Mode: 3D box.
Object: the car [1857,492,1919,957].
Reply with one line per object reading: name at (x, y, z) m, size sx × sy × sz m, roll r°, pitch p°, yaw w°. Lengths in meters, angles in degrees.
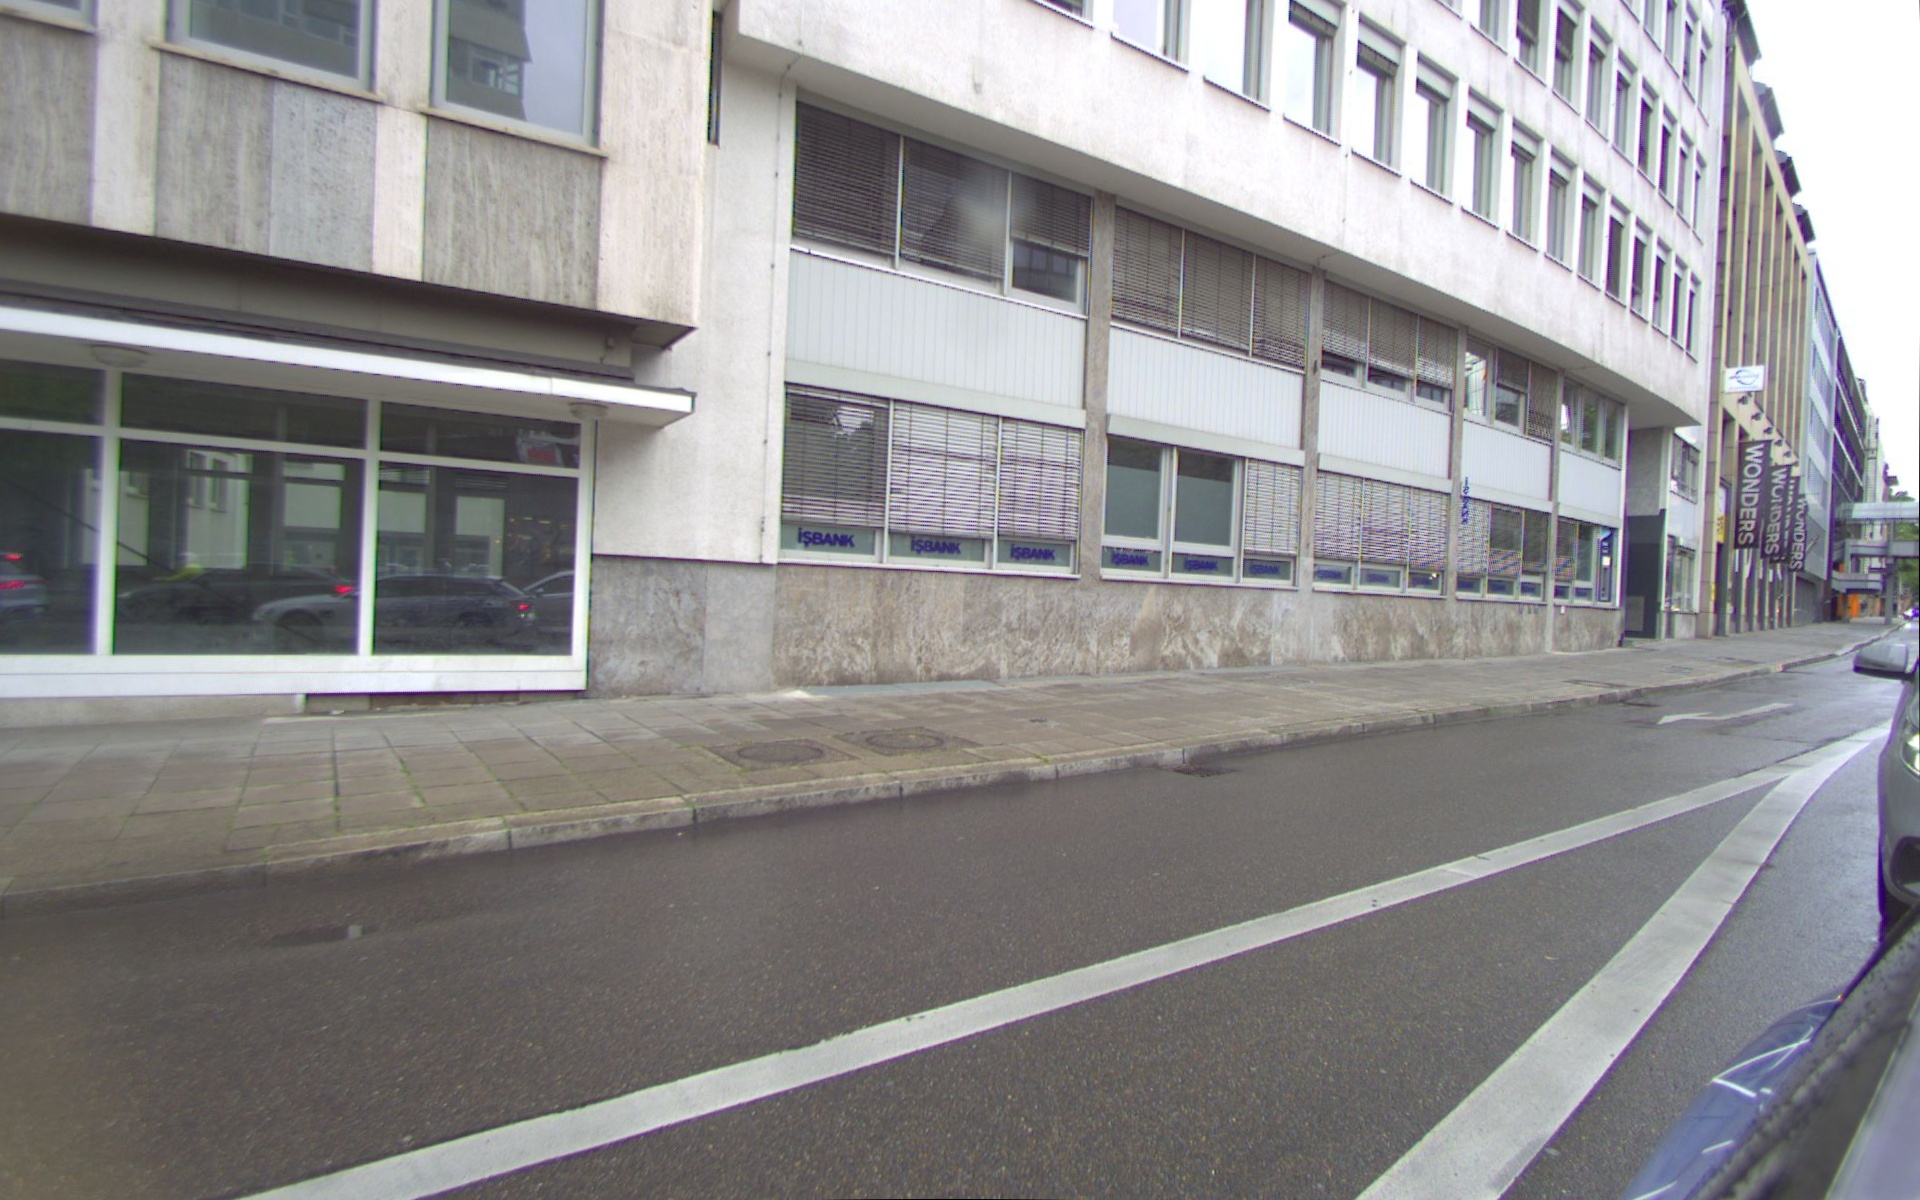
car at (6.215, 0.516, 5.177) m, size 4.940 × 1.879 × 1.914 m, roll 0°, pitch 0°, yaw -42°
